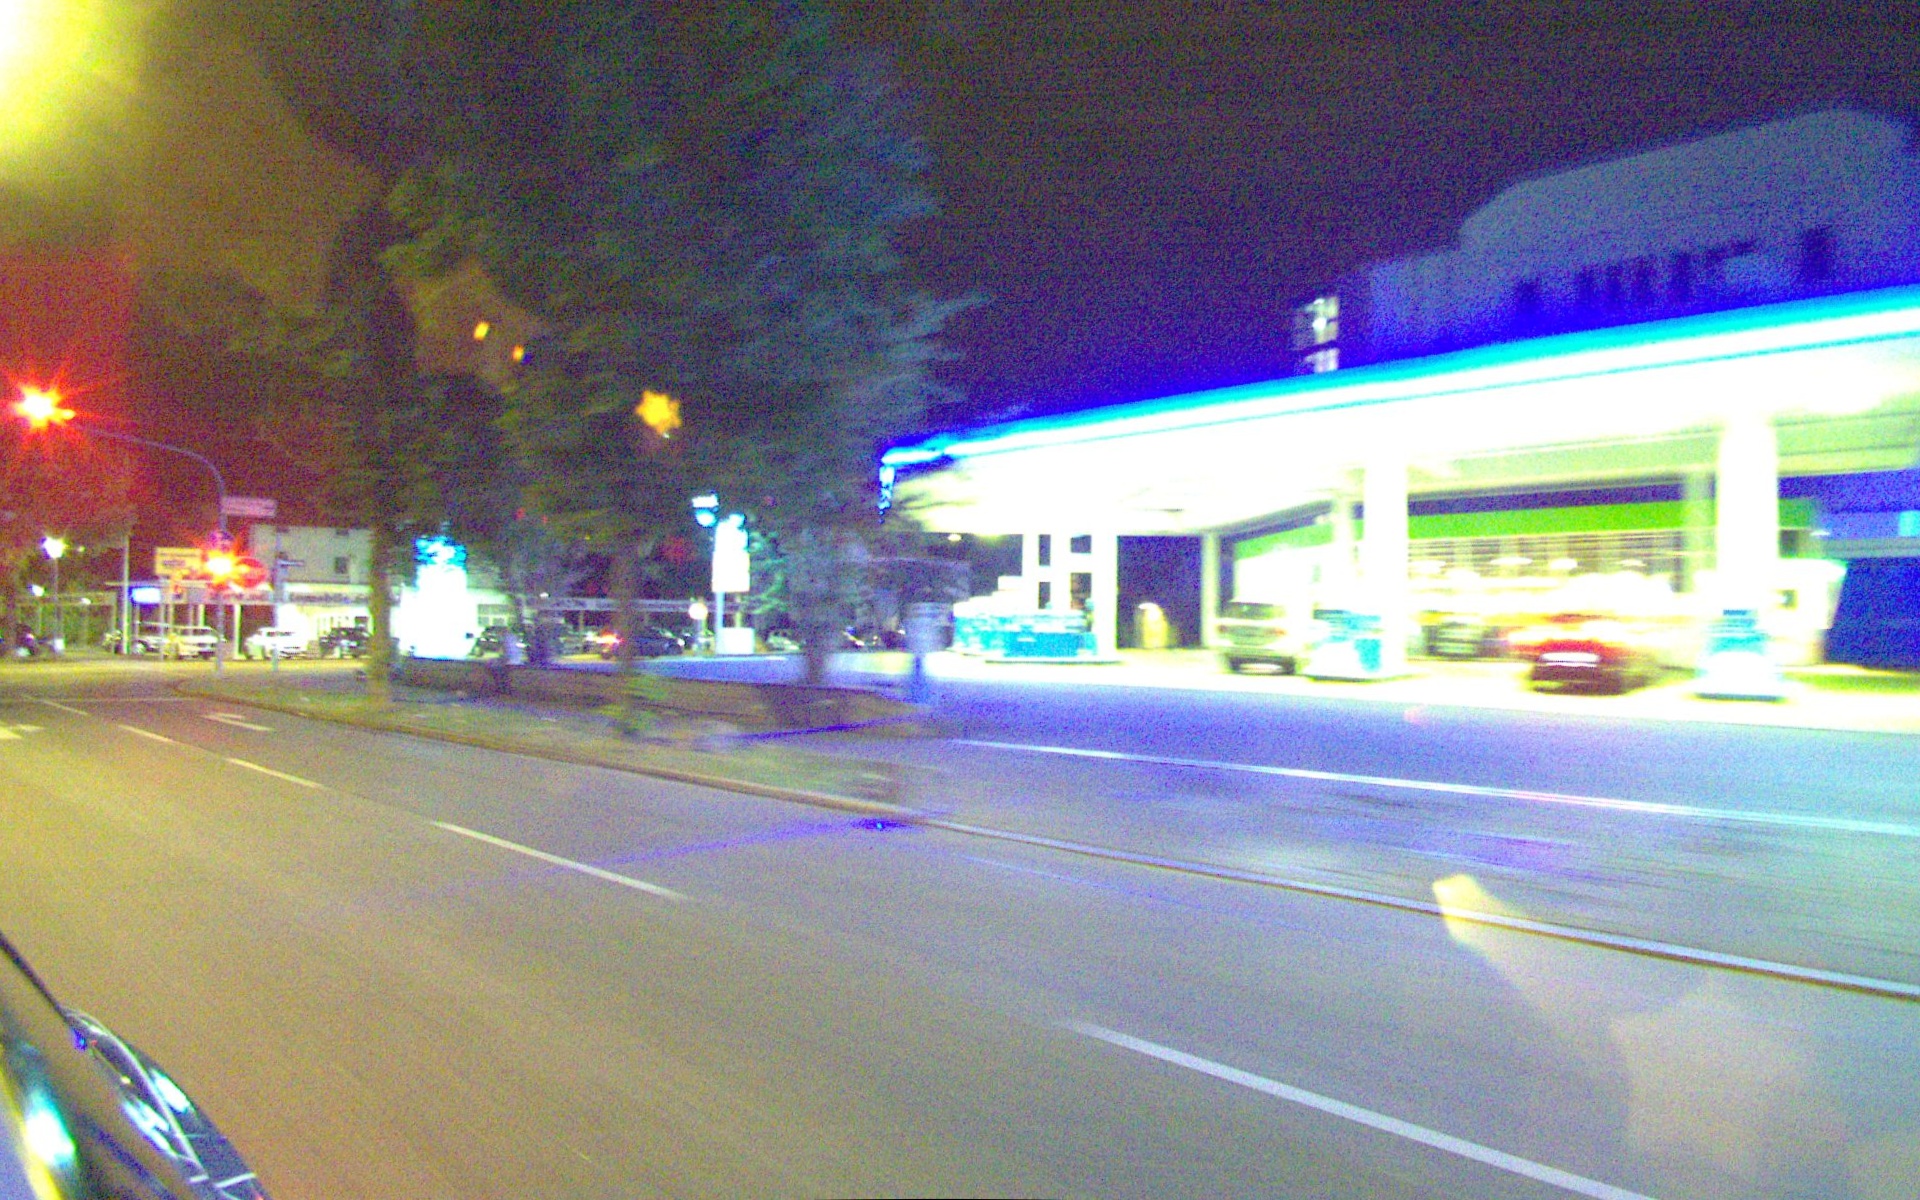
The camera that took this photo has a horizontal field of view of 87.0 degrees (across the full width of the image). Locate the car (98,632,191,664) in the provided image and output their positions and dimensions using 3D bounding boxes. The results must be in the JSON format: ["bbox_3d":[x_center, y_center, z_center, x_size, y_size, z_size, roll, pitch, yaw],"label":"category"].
[{"bbox_3d":[-43.527,2.574,54.076,1.632,1.598,3.531,-1,-4,39],"label":"car"}]

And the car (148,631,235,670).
[{"bbox_3d":[-33.011,2.153,43.451,4.382,1.569,1.974,-2,-3,39],"label":"car"}]

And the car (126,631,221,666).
[{"bbox_3d":[-40.587,2.503,52.273,1.633,1.712,3.530,-1,-4,40],"label":"car"}]

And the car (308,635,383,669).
[{"bbox_3d":[-29.362,2.467,48.330,4.067,1.565,1.840,-2,-3,40],"label":"car"}]

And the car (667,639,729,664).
[{"bbox_3d":[-16.183,3.190,62.517,3.955,1.489,1.743,-2,-3,40],"label":"car"}]

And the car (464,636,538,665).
[{"bbox_3d":[-24.481,2.659,53.923,4.350,1.489,1.840,-2,-3,40],"label":"car"}]

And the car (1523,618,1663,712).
[{"bbox_3d":[11.666,1.130,18.555,1.669,1.544,3.712,-2,-2,40],"label":"car"}]

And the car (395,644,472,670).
[{"bbox_3d":[-31.152,3.366,60.038,1.716,1.489,4.257,0,-3,13],"label":"car"}]

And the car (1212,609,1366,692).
[{"bbox_3d":[7.755,1.138,23.618,1.977,1.740,4.302,-2,-2,40],"label":"car"}]

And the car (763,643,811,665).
[{"bbox_3d":[-12.244,3.792,71.621,3.411,1.512,1.588,-2,-3,41],"label":"car"}]

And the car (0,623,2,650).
[{"bbox_3d":[-46.177,1.895,45.659,1.632,1.905,4.006,-1,-4,37],"label":"car"}]

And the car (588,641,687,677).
[{"bbox_3d":[-15.271,2.777,48.061,1.685,1.571,4.257,-2,-2,41],"label":"car"}]

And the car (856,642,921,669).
[{"bbox_3d":[-3.951,3.069,56.437,1.680,1.422,3.524,-1,-2,39],"label":"car"}]

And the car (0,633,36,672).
[{"bbox_3d":[-40.501,2.098,41.379,1.632,1.598,3.718,-1,-4,37],"label":"car"}]

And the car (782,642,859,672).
[{"bbox_3d":[-7.182,2.915,52.264,1.735,1.422,3.803,-1,-2,39],"label":"car"}]

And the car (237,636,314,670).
[{"bbox_3d":[-30.963,2.357,45.745,4.067,1.472,1.840,-2,-2,40],"label":"car"}]
